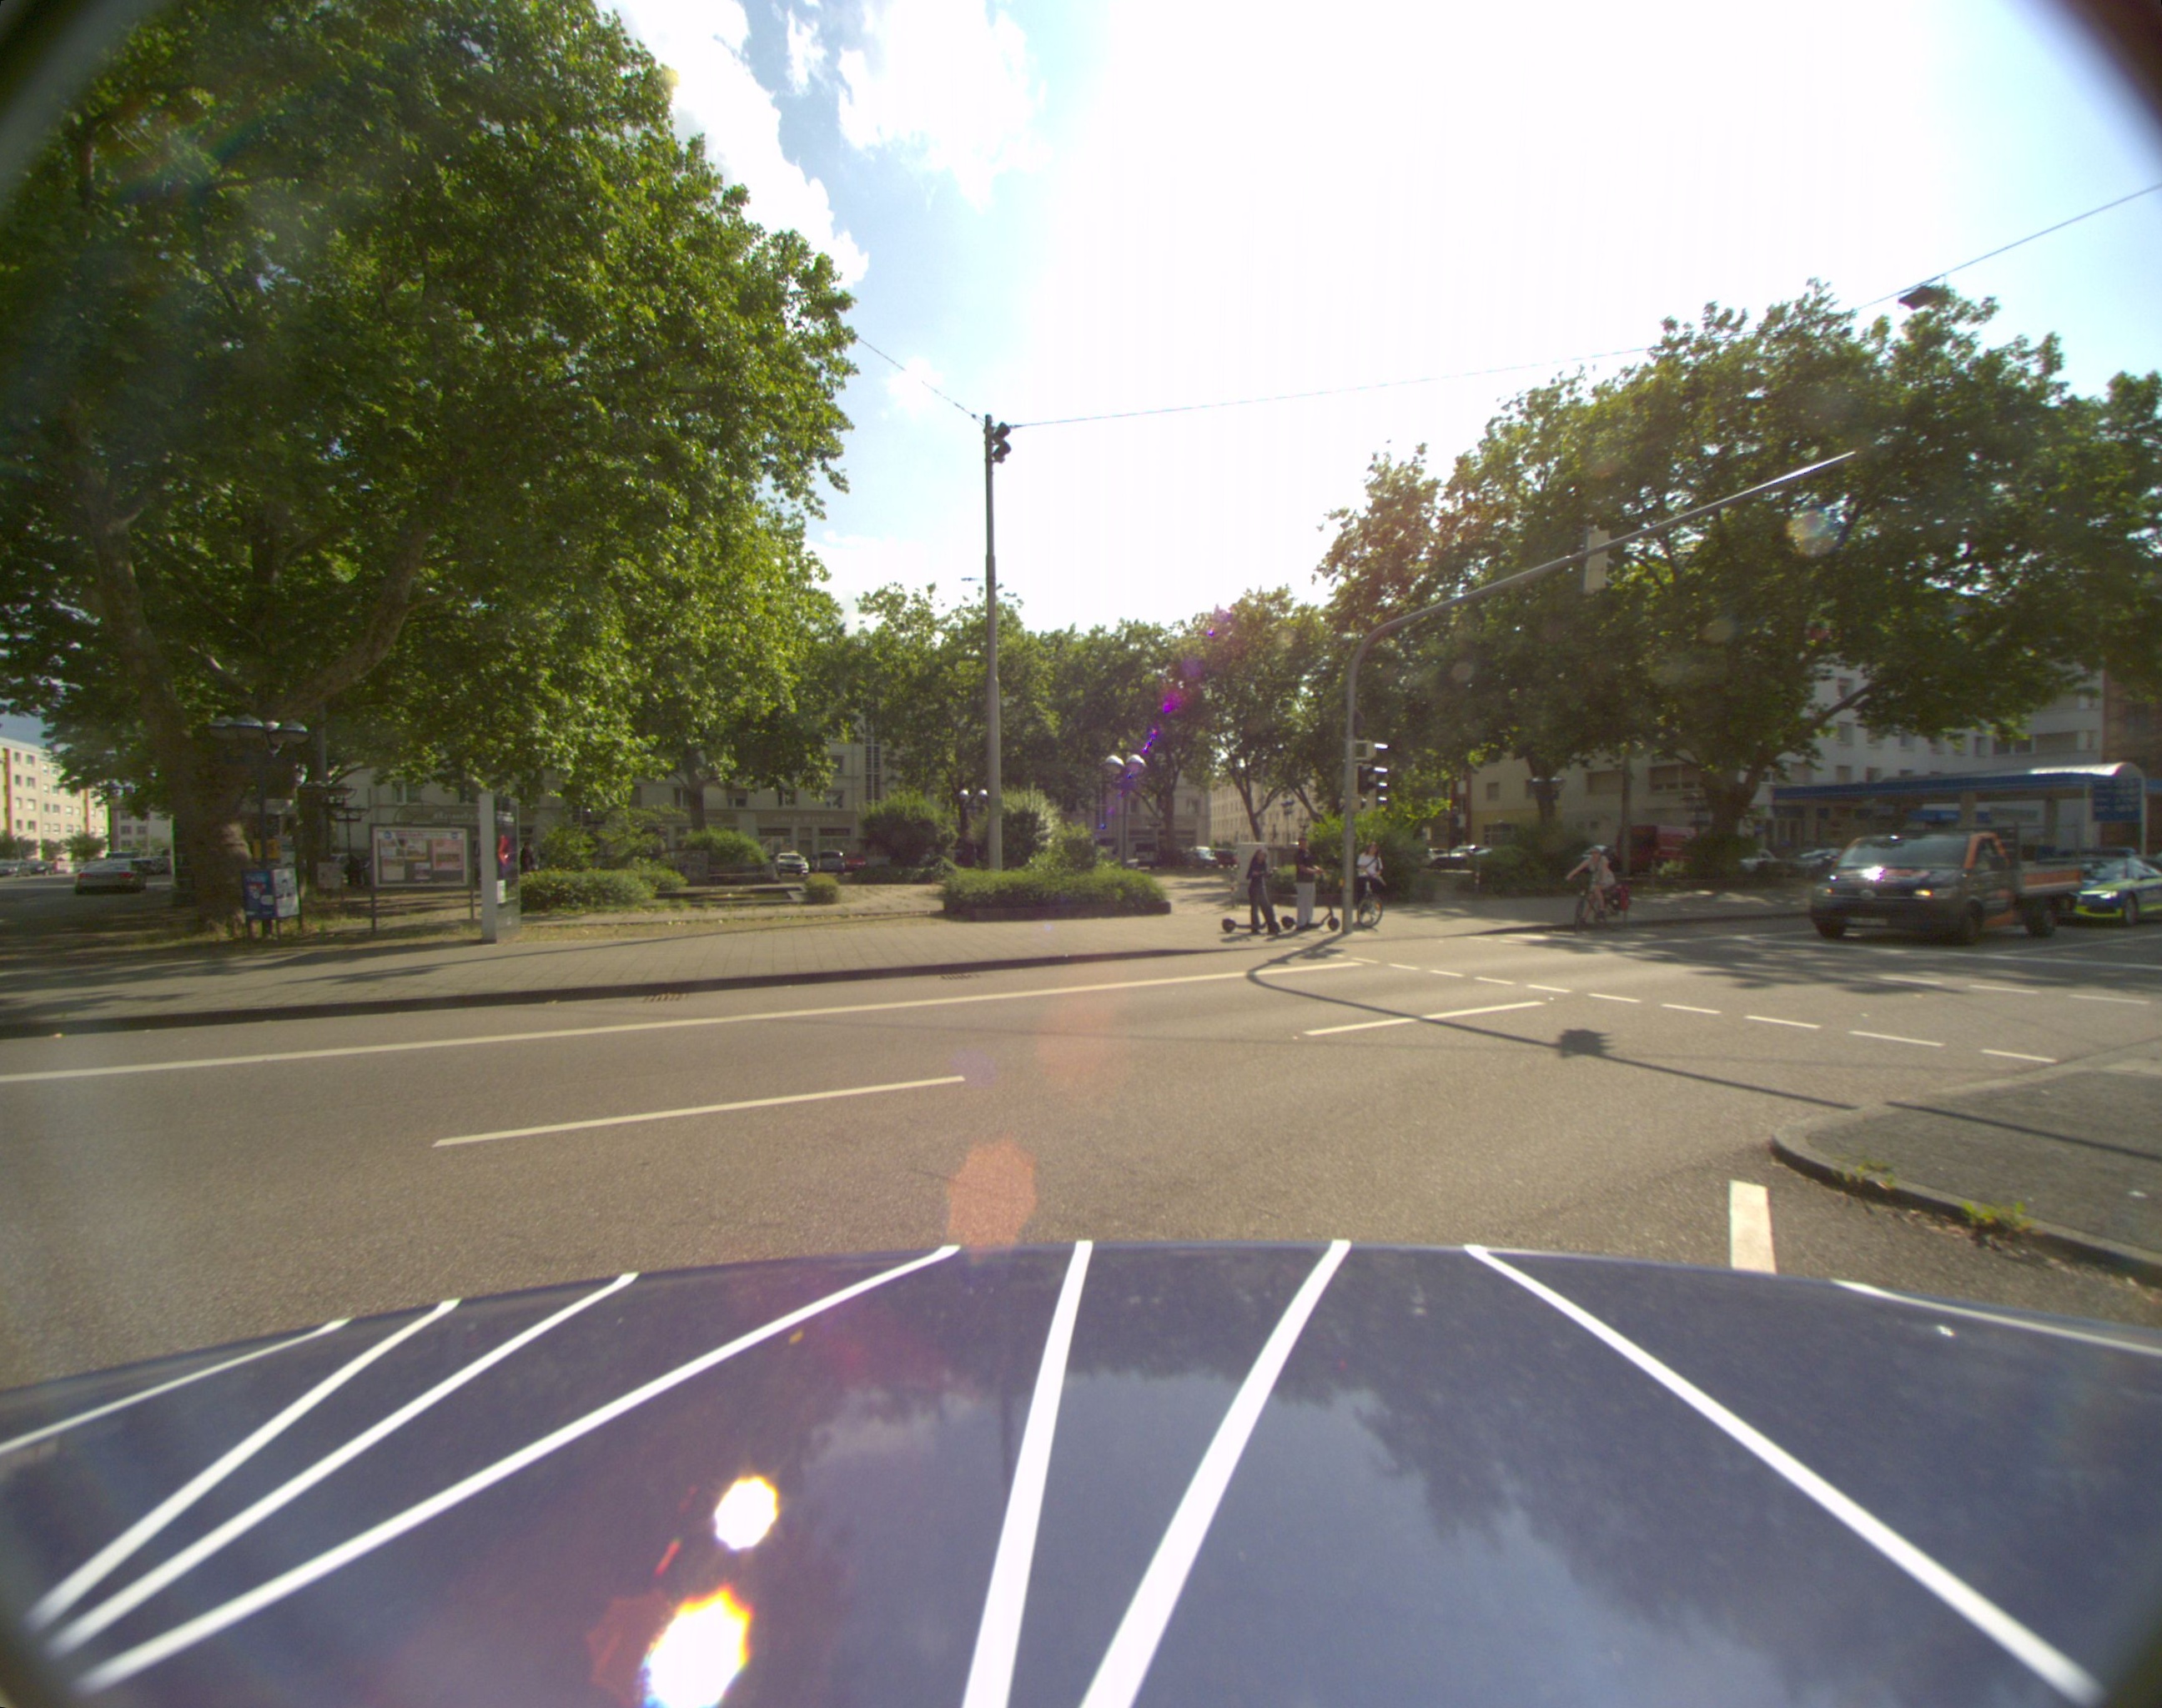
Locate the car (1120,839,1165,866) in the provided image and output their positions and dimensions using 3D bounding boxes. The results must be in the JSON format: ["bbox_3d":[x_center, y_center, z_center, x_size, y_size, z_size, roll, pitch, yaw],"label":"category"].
[{"bbox_3d":[4.679,-0.079,58.750,2.257,2.001,3.929,-1,-1,-15],"label":"car"}]

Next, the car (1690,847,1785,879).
[{"bbox_3d":[30.193,0.383,34.951,4.005,1.402,1.754,-1,1,-24],"label":"car"}]

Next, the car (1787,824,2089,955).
[{"bbox_3d":[15.766,0.510,13.970,5.341,1.975,2.077,-2,2,-23],"label":"car"}]

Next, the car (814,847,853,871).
[{"bbox_3d":[-16.597,0.306,50.819,1.872,1.510,3.934,-1,1,-28],"label":"car"}]

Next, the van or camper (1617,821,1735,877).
[{"bbox_3d":[29.567,-0.232,37.765,5.355,2.625,2.105,-1,-1,-21],"label":"van or camper"}]

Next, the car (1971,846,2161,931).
[{"bbox_3d":[22.277,0.670,16.809,5.159,1.642,1.869,-1,0,-23],"label":"car"}]

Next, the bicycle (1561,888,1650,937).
[{"bbox_3d":[10.627,1.170,15.389,1.718,0.916,0.470,-1,2,-14],"label":"bicycle"}]

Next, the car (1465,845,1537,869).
[{"bbox_3d":[25.369,0.202,45.893,4.005,1.355,1.764,-1,-1,-24],"label":"car"}]

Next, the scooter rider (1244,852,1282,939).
[{"bbox_3d":[3.414,0.762,14.252,0.546,1.585,0.436,-2,4,-45],"label":"scooter rider"}]

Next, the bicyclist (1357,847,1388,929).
[{"bbox_3d":[6.057,0.692,15.800,0.506,1.659,0.584,1,4,16],"label":"bicyclist"}]

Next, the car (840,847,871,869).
[{"bbox_3d":[-18.266,0.298,61.528,1.854,1.650,4.074,-1,1,-24],"label":"car"}]

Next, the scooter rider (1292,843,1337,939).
[{"bbox_3d":[4.492,0.695,14.652,0.679,1.800,0.545,1,3,3],"label":"scooter rider"}]

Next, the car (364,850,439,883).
[{"bbox_3d":[-37.380,0.631,41.920,1.854,1.650,4.074,-1,1,-24],"label":"car"}]

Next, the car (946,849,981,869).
[{"bbox_3d":[-10.024,0.400,64.718,1.854,1.650,4.074,-1,1,-25],"label":"car"}]

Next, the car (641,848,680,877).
[{"bbox_3d":[-25.655,0.453,46.499,1.854,1.650,4.074,-1,1,-26],"label":"car"}]

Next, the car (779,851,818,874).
[{"bbox_3d":[-18.391,0.510,49.377,1.872,1.346,3.934,-1,1,-28],"label":"car"}]

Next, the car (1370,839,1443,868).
[{"bbox_3d":[22.756,-0.023,53.086,4.688,1.922,1.996,-1,-1,-24],"label":"car"}]

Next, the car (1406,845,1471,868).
[{"bbox_3d":[23.933,0.165,50.875,4.005,1.511,1.661,-1,-1,-24],"label":"car"}]

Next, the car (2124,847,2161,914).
[{"bbox_3d":[29.135,0.625,19.505,4.684,1.598,1.762,-2,2,-23],"label":"car"}]

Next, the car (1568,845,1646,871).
[{"bbox_3d":[27.773,0.232,40.094,4.005,1.286,1.476,-1,-1,-24],"label":"car"}]

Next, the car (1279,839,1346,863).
[{"bbox_3d":[19.121,-0.246,62.785,5.260,1.861,1.996,-1,-1,-26],"label":"car"}]

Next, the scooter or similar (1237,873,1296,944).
[{"bbox_3d":[3.464,0.999,14.210,0.546,1.219,0.874,-2,4,-45],"label":"scooter or similar"}]

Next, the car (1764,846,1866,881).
[{"bbox_3d":[31.368,0.375,32.488,4.005,1.402,1.754,-1,1,-24],"label":"car"}]

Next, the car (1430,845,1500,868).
[{"bbox_3d":[24.360,0.154,48.172,4.005,1.355,1.764,-1,-1,-24],"label":"car"}]

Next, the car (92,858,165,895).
[{"bbox_3d":[-43.471,0.976,34.751,3.987,1.493,1.694,2,2,44],"label":"car"}]

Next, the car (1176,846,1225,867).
[{"bbox_3d":[9.472,0.178,60.427,1.854,1.524,4.074,-1,1,-25],"label":"car"}]

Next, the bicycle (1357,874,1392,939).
[{"bbox_3d":[5.920,1.021,15.375,0.506,1.107,1.632,1,4,17],"label":"bicycle"}]

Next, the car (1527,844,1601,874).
[{"bbox_3d":[27.151,0.262,42.736,4.005,1.594,1.528,-1,0,-24],"label":"car"}]

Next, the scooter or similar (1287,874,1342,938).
[{"bbox_3d":[4.493,0.985,14.661,0.876,1.165,0.545,1,3,3],"label":"scooter or similar"}]

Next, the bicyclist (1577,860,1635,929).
[{"bbox_3d":[10.609,0.807,15.373,0.910,1.336,0.470,-1,2,-14],"label":"bicyclist"}]
